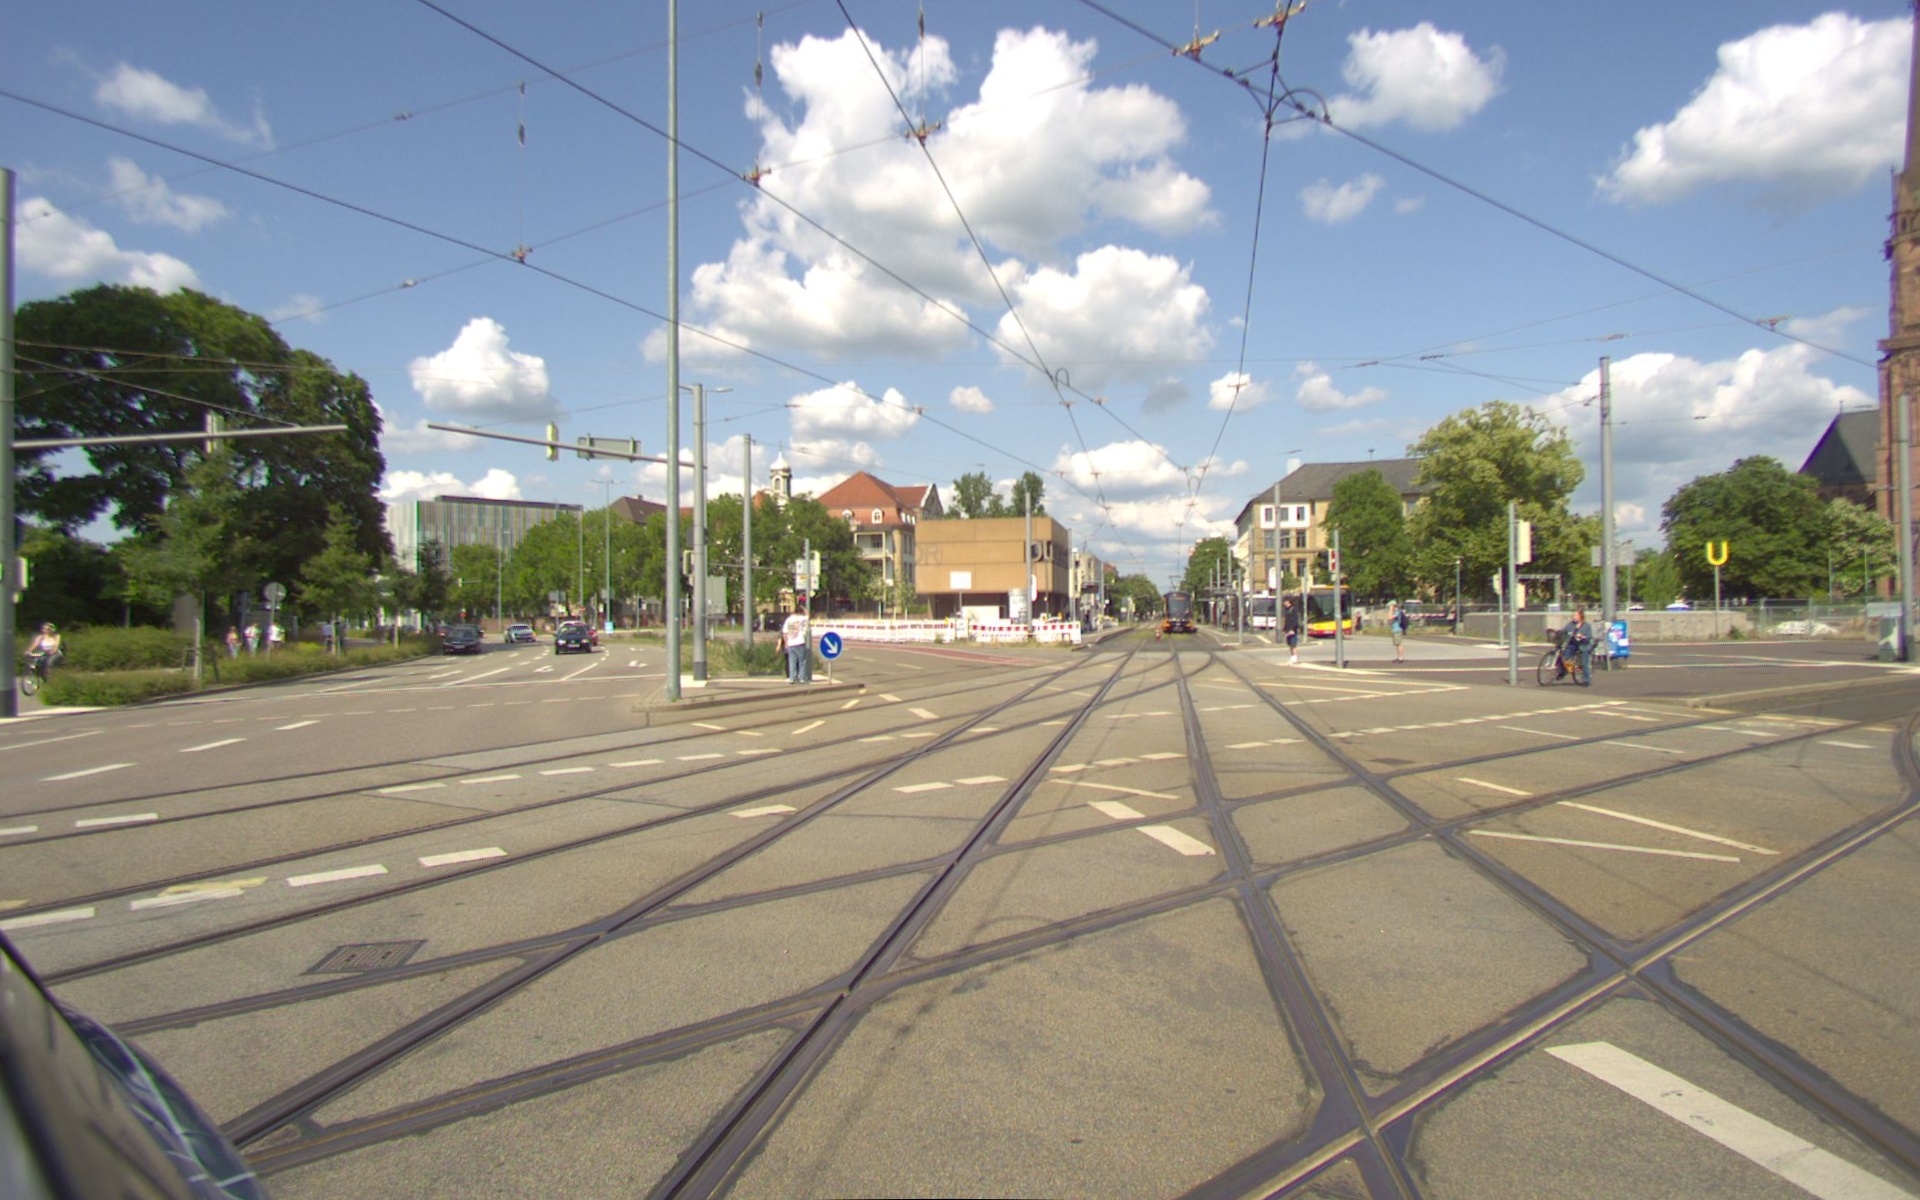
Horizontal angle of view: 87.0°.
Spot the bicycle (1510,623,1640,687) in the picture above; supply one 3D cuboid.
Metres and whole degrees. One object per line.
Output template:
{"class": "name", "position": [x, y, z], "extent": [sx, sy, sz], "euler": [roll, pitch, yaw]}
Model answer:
{"class": "bicycle", "position": [12.072, 1.056, 19.877], "extent": [2.261, 1.197, 0.998], "euler": [0, -1, -21]}

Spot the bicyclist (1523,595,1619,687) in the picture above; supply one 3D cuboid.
{"class": "bicyclist", "position": [11.963, 0.793, 19.834], "extent": [1.279, 1.744, 0.998], "euler": [0, -1, -21]}

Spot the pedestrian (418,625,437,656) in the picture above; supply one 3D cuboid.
{"class": "pedestrian", "position": [-35.941, 2.737, 68.313], "extent": [0.949, 2.029, 0.771], "euler": [-2, 0, -21]}

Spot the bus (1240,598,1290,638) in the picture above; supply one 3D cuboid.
{"class": "bus", "position": [30.349, 1.903, 101.482], "extent": [3.573, 3.659, 18.787], "euler": [-1, -2, 13]}

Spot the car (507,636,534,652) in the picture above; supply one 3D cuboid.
{"class": "car", "position": [-34.770, 3.454, 79.992], "extent": [1.877, 1.142, 4.116], "euler": [-1, -1, -24]}

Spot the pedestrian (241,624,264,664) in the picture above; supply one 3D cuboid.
{"class": "pedestrian", "position": [-30.854, 1.917, 44.131], "extent": [0.605, 1.713, 0.892], "euler": [2, -2, -24]}

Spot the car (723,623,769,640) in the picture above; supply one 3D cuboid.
{"class": "car", "position": [-19.372, 2.815, 91.632], "extent": [3.724, 1.345, 1.739], "euler": [-2, 0, -30]}

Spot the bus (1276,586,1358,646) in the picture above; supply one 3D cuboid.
{"class": "bus", "position": [21.173, 1.004, 60.796], "extent": [2.804, 3.160, 12.793], "euler": [-1, -1, 11]}

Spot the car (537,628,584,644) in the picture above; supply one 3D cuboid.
{"class": "car", "position": [-36.704, 3.297, 92.881], "extent": [3.977, 1.364, 1.765], "euler": [-2, 0, 25]}

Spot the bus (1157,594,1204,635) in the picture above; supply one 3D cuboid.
{"class": "bus", "position": [19.929, 1.415, 92.751], "extent": [3.439, 3.208, 23.696], "euler": [-1, -1, 11]}

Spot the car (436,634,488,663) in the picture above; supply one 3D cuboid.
{"class": "car", "position": [-27.500, 2.668, 56.005], "extent": [1.796, 1.474, 4.011], "euler": [-1, -1, -15]}

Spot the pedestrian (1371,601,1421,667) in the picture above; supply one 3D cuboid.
{"class": "pedestrian", "position": [12.406, 0.967, 28.789], "extent": [0.754, 1.811, 1.031], "euler": [-2, 0, -15]}

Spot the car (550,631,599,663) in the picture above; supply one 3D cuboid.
{"class": "car", "position": [-19.397, 2.314, 51.081], "extent": [1.796, 1.474, 4.010], "euler": [-1, -1, -13]}

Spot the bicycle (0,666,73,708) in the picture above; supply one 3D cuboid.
{"class": "bicycle", "position": [-22.821, 2.138, 25.045], "extent": [0.638, 0.887, 1.828], "euler": [-3, 0, -19]}

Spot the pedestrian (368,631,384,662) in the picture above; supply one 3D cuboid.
{"class": "pedestrian", "position": [-33.905, 2.680, 58.753], "extent": [0.755, 1.748, 0.721], "euler": [-2, 0, -27]}

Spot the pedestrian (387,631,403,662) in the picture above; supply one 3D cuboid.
{"class": "pedestrian", "position": [-33.271, 2.721, 59.565], "extent": [0.755, 1.748, 0.721], "euler": [-2, 0, -27]}

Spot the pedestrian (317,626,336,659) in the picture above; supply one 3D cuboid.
{"class": "pedestrian", "position": [-34.771, 2.310, 55.539], "extent": [0.731, 1.759, 0.892], "euler": [2, -2, -25]}

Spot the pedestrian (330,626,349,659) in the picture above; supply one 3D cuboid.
{"class": "pedestrian", "position": [-34.090, 2.346, 55.602], "extent": [0.731, 1.767, 0.892], "euler": [2, -2, -25]}

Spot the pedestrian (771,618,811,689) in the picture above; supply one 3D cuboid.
{"class": "pedestrian", "position": [-4.020, 1.253, 24.052], "extent": [0.835, 1.660, 0.695], "euler": [0, -1, -19]}

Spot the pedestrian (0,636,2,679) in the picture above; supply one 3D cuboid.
{"class": "pedestrian", "position": [-31.032, 1.940, 32.018], "extent": [0.613, 1.635, 0.880], "euler": [0, -2, 31]}

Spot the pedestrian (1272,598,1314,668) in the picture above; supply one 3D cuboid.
{"class": "pedestrian", "position": [9.309, 0.924, 28.327], "extent": [0.826, 1.917, 0.757], "euler": [-3, -1, 40]}

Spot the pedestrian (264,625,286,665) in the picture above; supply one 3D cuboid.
{"class": "pedestrian", "position": [-30.099, 1.961, 44.491], "extent": [0.605, 1.713, 0.892], "euler": [2, -2, -24]}

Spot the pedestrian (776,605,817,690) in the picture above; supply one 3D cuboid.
{"class": "pedestrian", "position": [-3.807, 1.093, 23.531], "extent": [0.835, 1.931, 0.695], "euler": [0, -1, -19]}

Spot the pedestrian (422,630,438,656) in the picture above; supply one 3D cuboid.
{"class": "pedestrian", "position": [-37.006, 2.994, 70.678], "extent": [0.912, 1.748, 0.771], "euler": [-2, 0, -21]}

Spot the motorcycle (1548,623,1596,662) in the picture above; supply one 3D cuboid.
{"class": "motorcycle", "position": [19.878, 1.369, 32.863], "extent": [1.422, 1.246, 0.485], "euler": [0, -1, -17]}

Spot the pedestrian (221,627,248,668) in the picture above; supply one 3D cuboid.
{"class": "pedestrian", "position": [-29.528, 1.943, 41.189], "extent": [0.605, 1.635, 0.892], "euler": [2, -2, -20]}
